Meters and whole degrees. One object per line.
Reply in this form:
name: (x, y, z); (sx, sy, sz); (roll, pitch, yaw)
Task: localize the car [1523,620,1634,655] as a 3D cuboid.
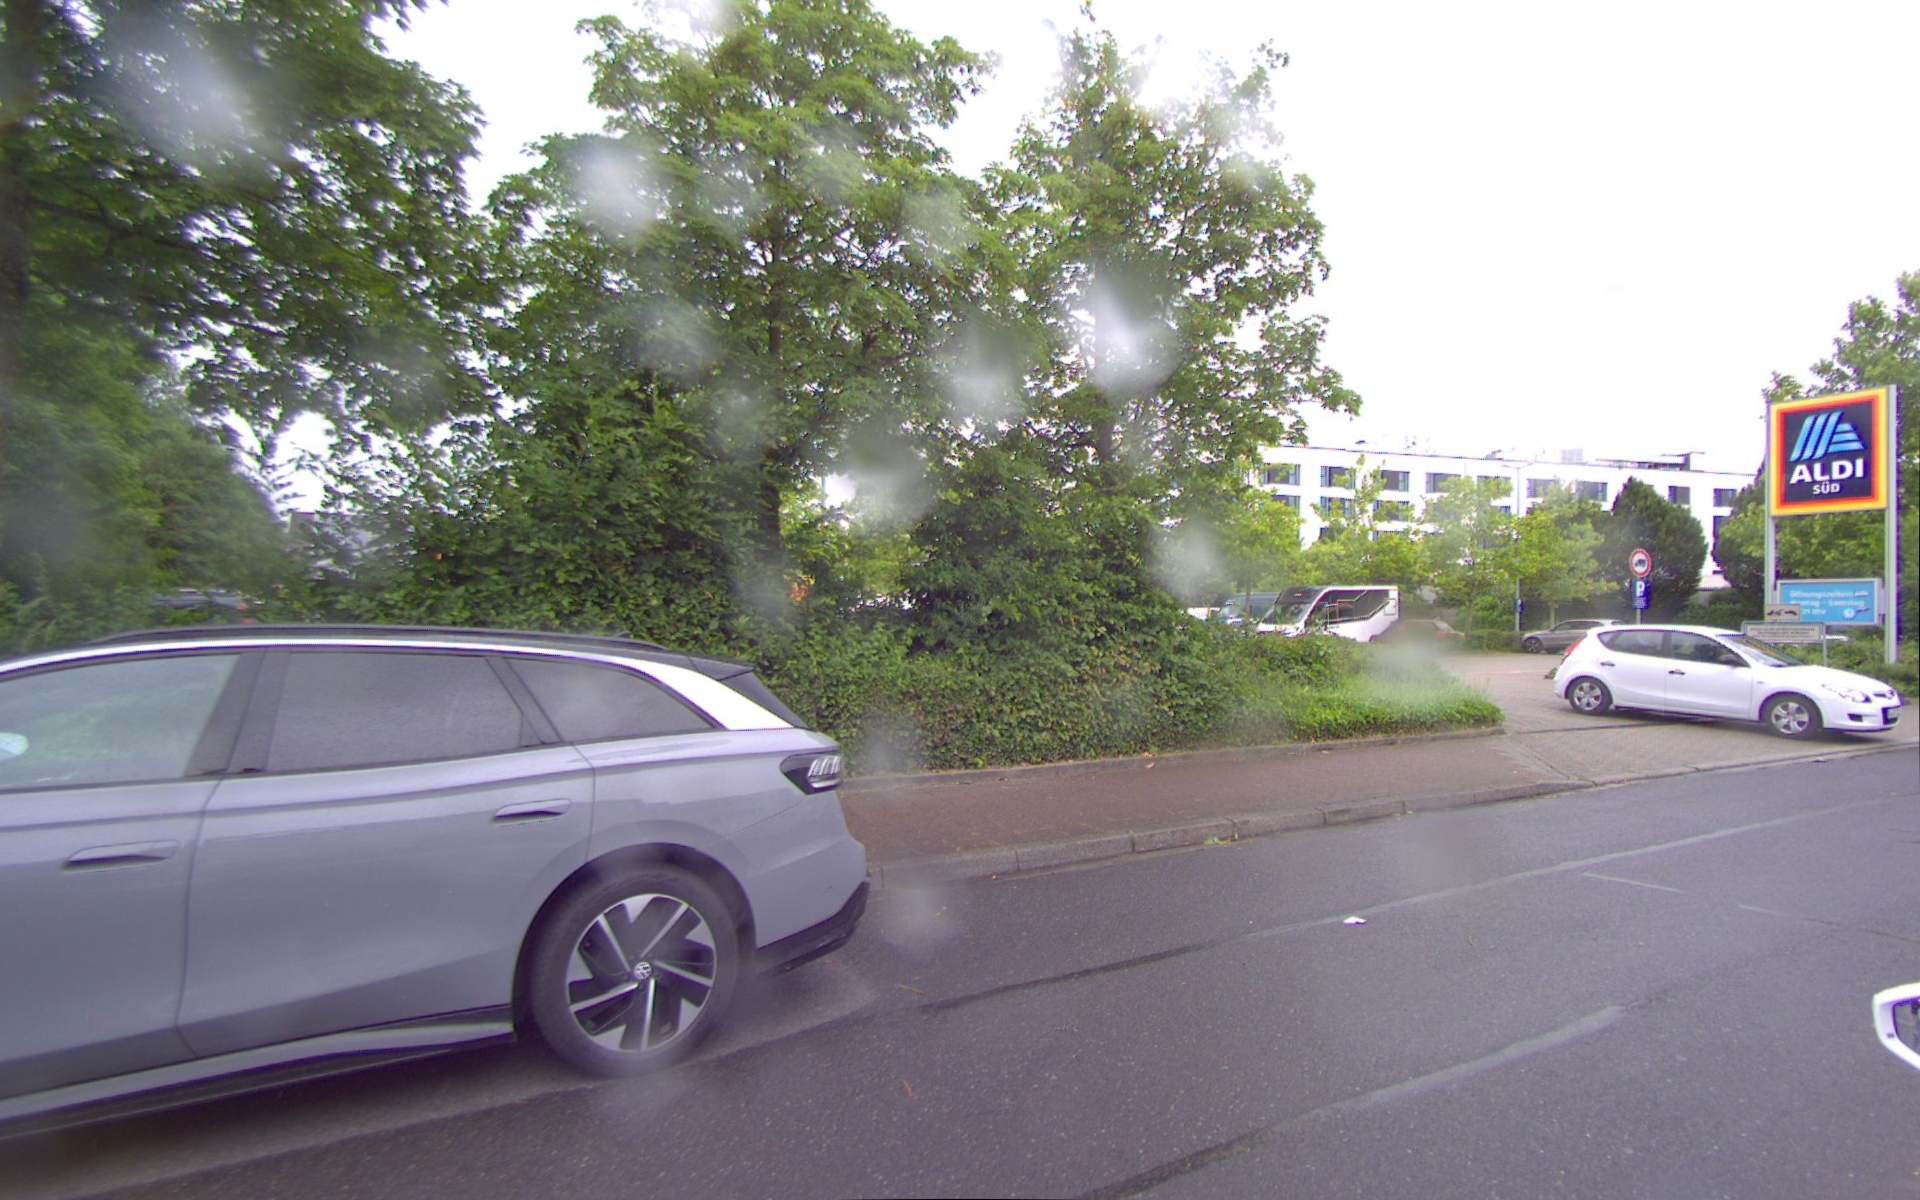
car: (28.572, 1.699, 46.508); (1.975, 1.519, 3.971); (1, -1, -28)

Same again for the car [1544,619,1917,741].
car: (11.432, 1.084, 15.215); (1.694, 1.479, 4.166); (1, 0, -33)

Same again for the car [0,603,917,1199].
car: (-2.633, 0.855, 3.540); (4.695, 1.548, 1.800); (1, -5, -32)

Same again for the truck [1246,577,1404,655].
truck: (13.445, 0.606, 36.835); (6.325, 2.692, 1.983); (1, -1, -32)

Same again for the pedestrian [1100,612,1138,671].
pedestrian: (4.548, 1.168, 28.689); (0.761, 1.656, 0.771); (1, -1, -34)

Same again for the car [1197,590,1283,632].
car: (16.011, 0.657, 57.407); (4.757, 2.327, 1.984); (1, -1, -30)

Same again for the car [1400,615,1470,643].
car: (29.871, 1.851, 63.307); (1.687, 1.615, 3.818); (0, -3, -23)

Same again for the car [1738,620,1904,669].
car: (29.659, 1.483, 34.731); (1.888, 1.561, 3.969); (1, -1, -29)

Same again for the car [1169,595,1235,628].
car: (15.955, 0.772, 66.298); (3.953, 2.040, 1.984); (2, 0, -30)

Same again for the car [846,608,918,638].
car: (-3.748, 1.087, 47.499); (1.834, 1.352, 3.967); (1, -1, -31)

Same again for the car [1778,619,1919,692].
car: (21.097, 1.241, 22.782); (1.691, 1.479, 3.554); (1, 1, -29)

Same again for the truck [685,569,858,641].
truck: (-7.254, 0.243, 38.946); (6.319, 2.636, 1.985); (1, -1, -30)
